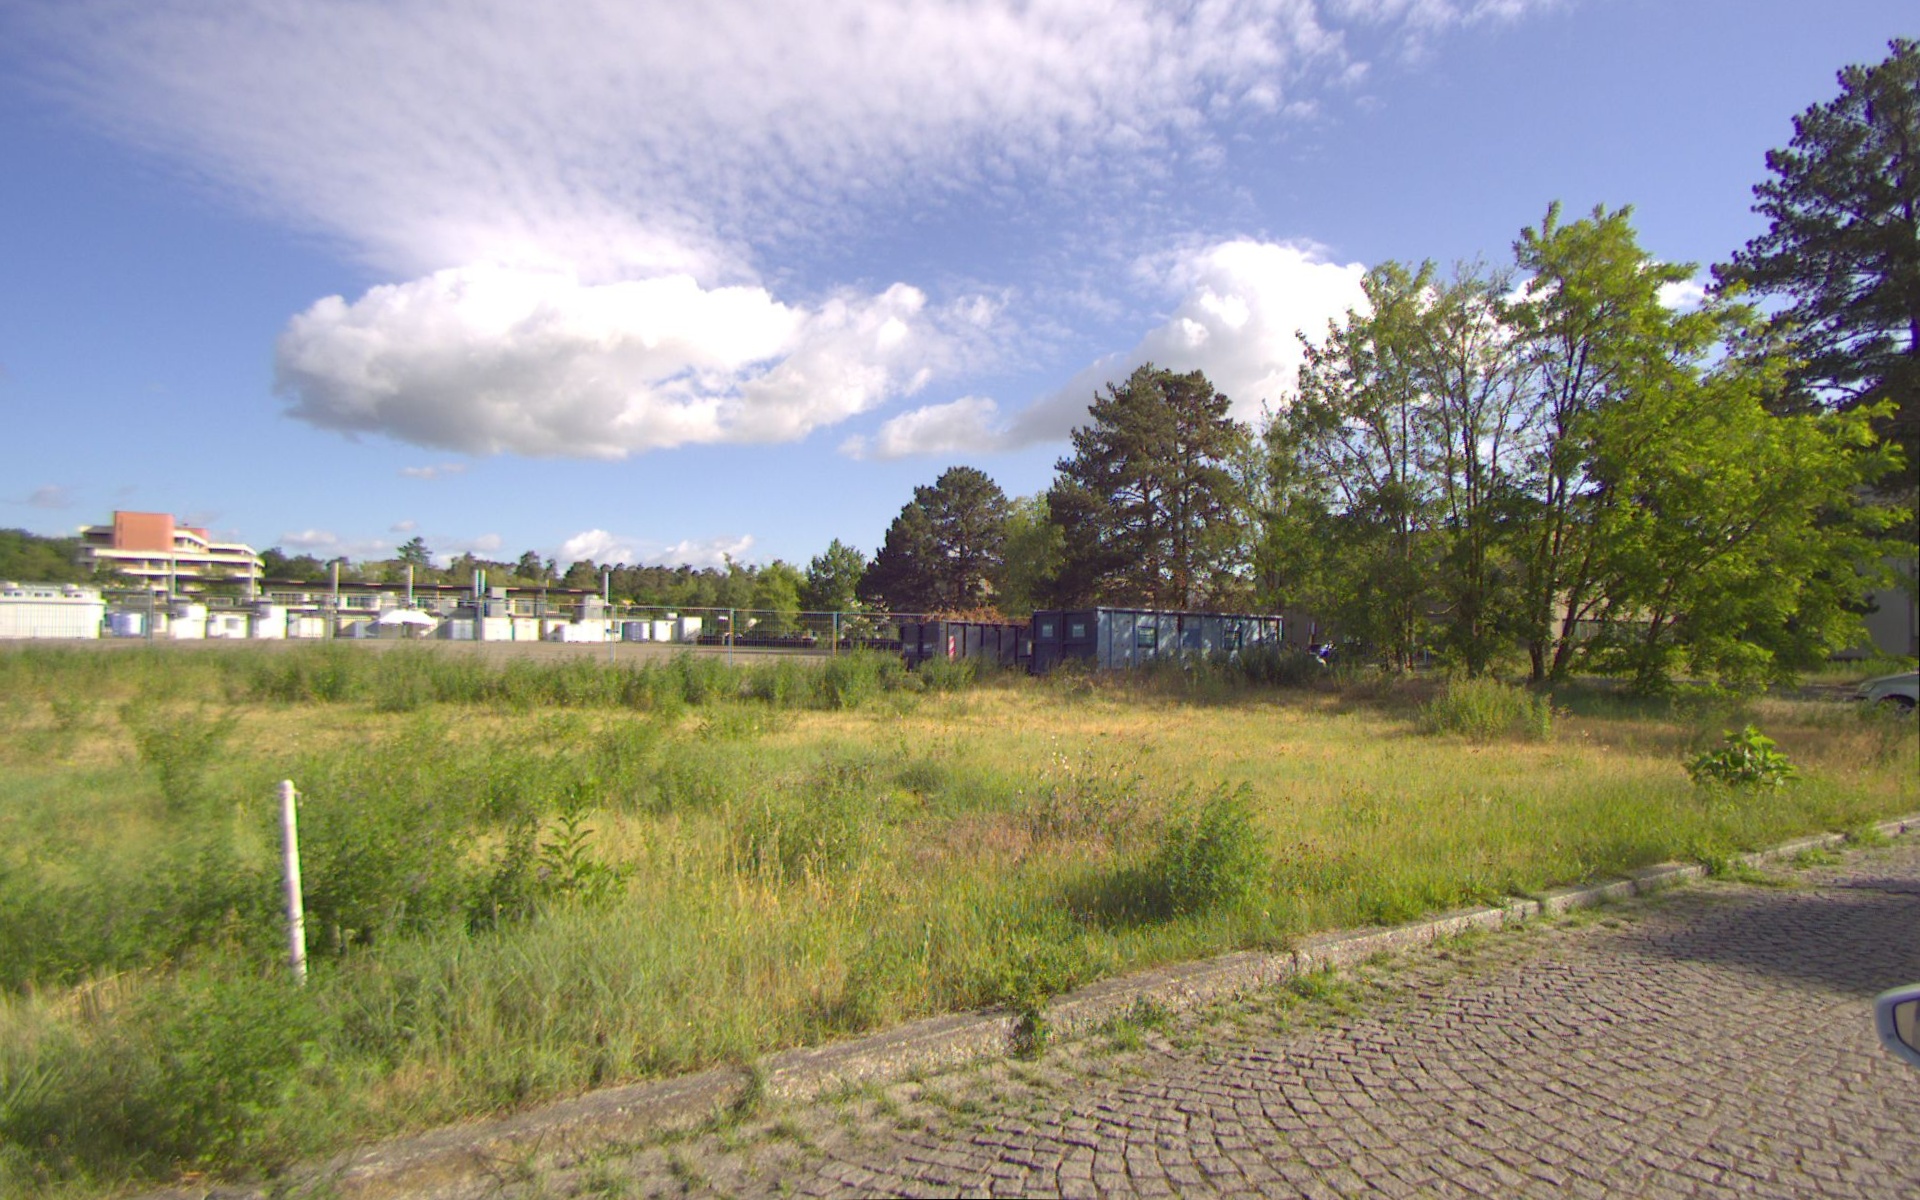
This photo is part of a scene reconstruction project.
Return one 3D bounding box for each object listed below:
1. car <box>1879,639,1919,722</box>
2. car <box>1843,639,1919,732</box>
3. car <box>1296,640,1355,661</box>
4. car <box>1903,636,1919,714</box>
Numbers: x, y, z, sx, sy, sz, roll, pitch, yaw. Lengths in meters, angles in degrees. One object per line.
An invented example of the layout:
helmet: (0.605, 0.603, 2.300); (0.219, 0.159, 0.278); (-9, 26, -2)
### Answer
car: (19.352, 1.556, 17.975); (1.784, 1.500, 3.963); (1, 0, -33)
car: (17.280, 1.490, 16.609); (1.628, 1.507, 3.724); (1, 0, -33)
car: (26.323, 3.633, 72.322); (3.954, 1.452, 1.893); (3, -2, -31)
car: (21.715, 1.615, 19.937); (1.865, 1.614, 4.056); (1, 0, -33)
